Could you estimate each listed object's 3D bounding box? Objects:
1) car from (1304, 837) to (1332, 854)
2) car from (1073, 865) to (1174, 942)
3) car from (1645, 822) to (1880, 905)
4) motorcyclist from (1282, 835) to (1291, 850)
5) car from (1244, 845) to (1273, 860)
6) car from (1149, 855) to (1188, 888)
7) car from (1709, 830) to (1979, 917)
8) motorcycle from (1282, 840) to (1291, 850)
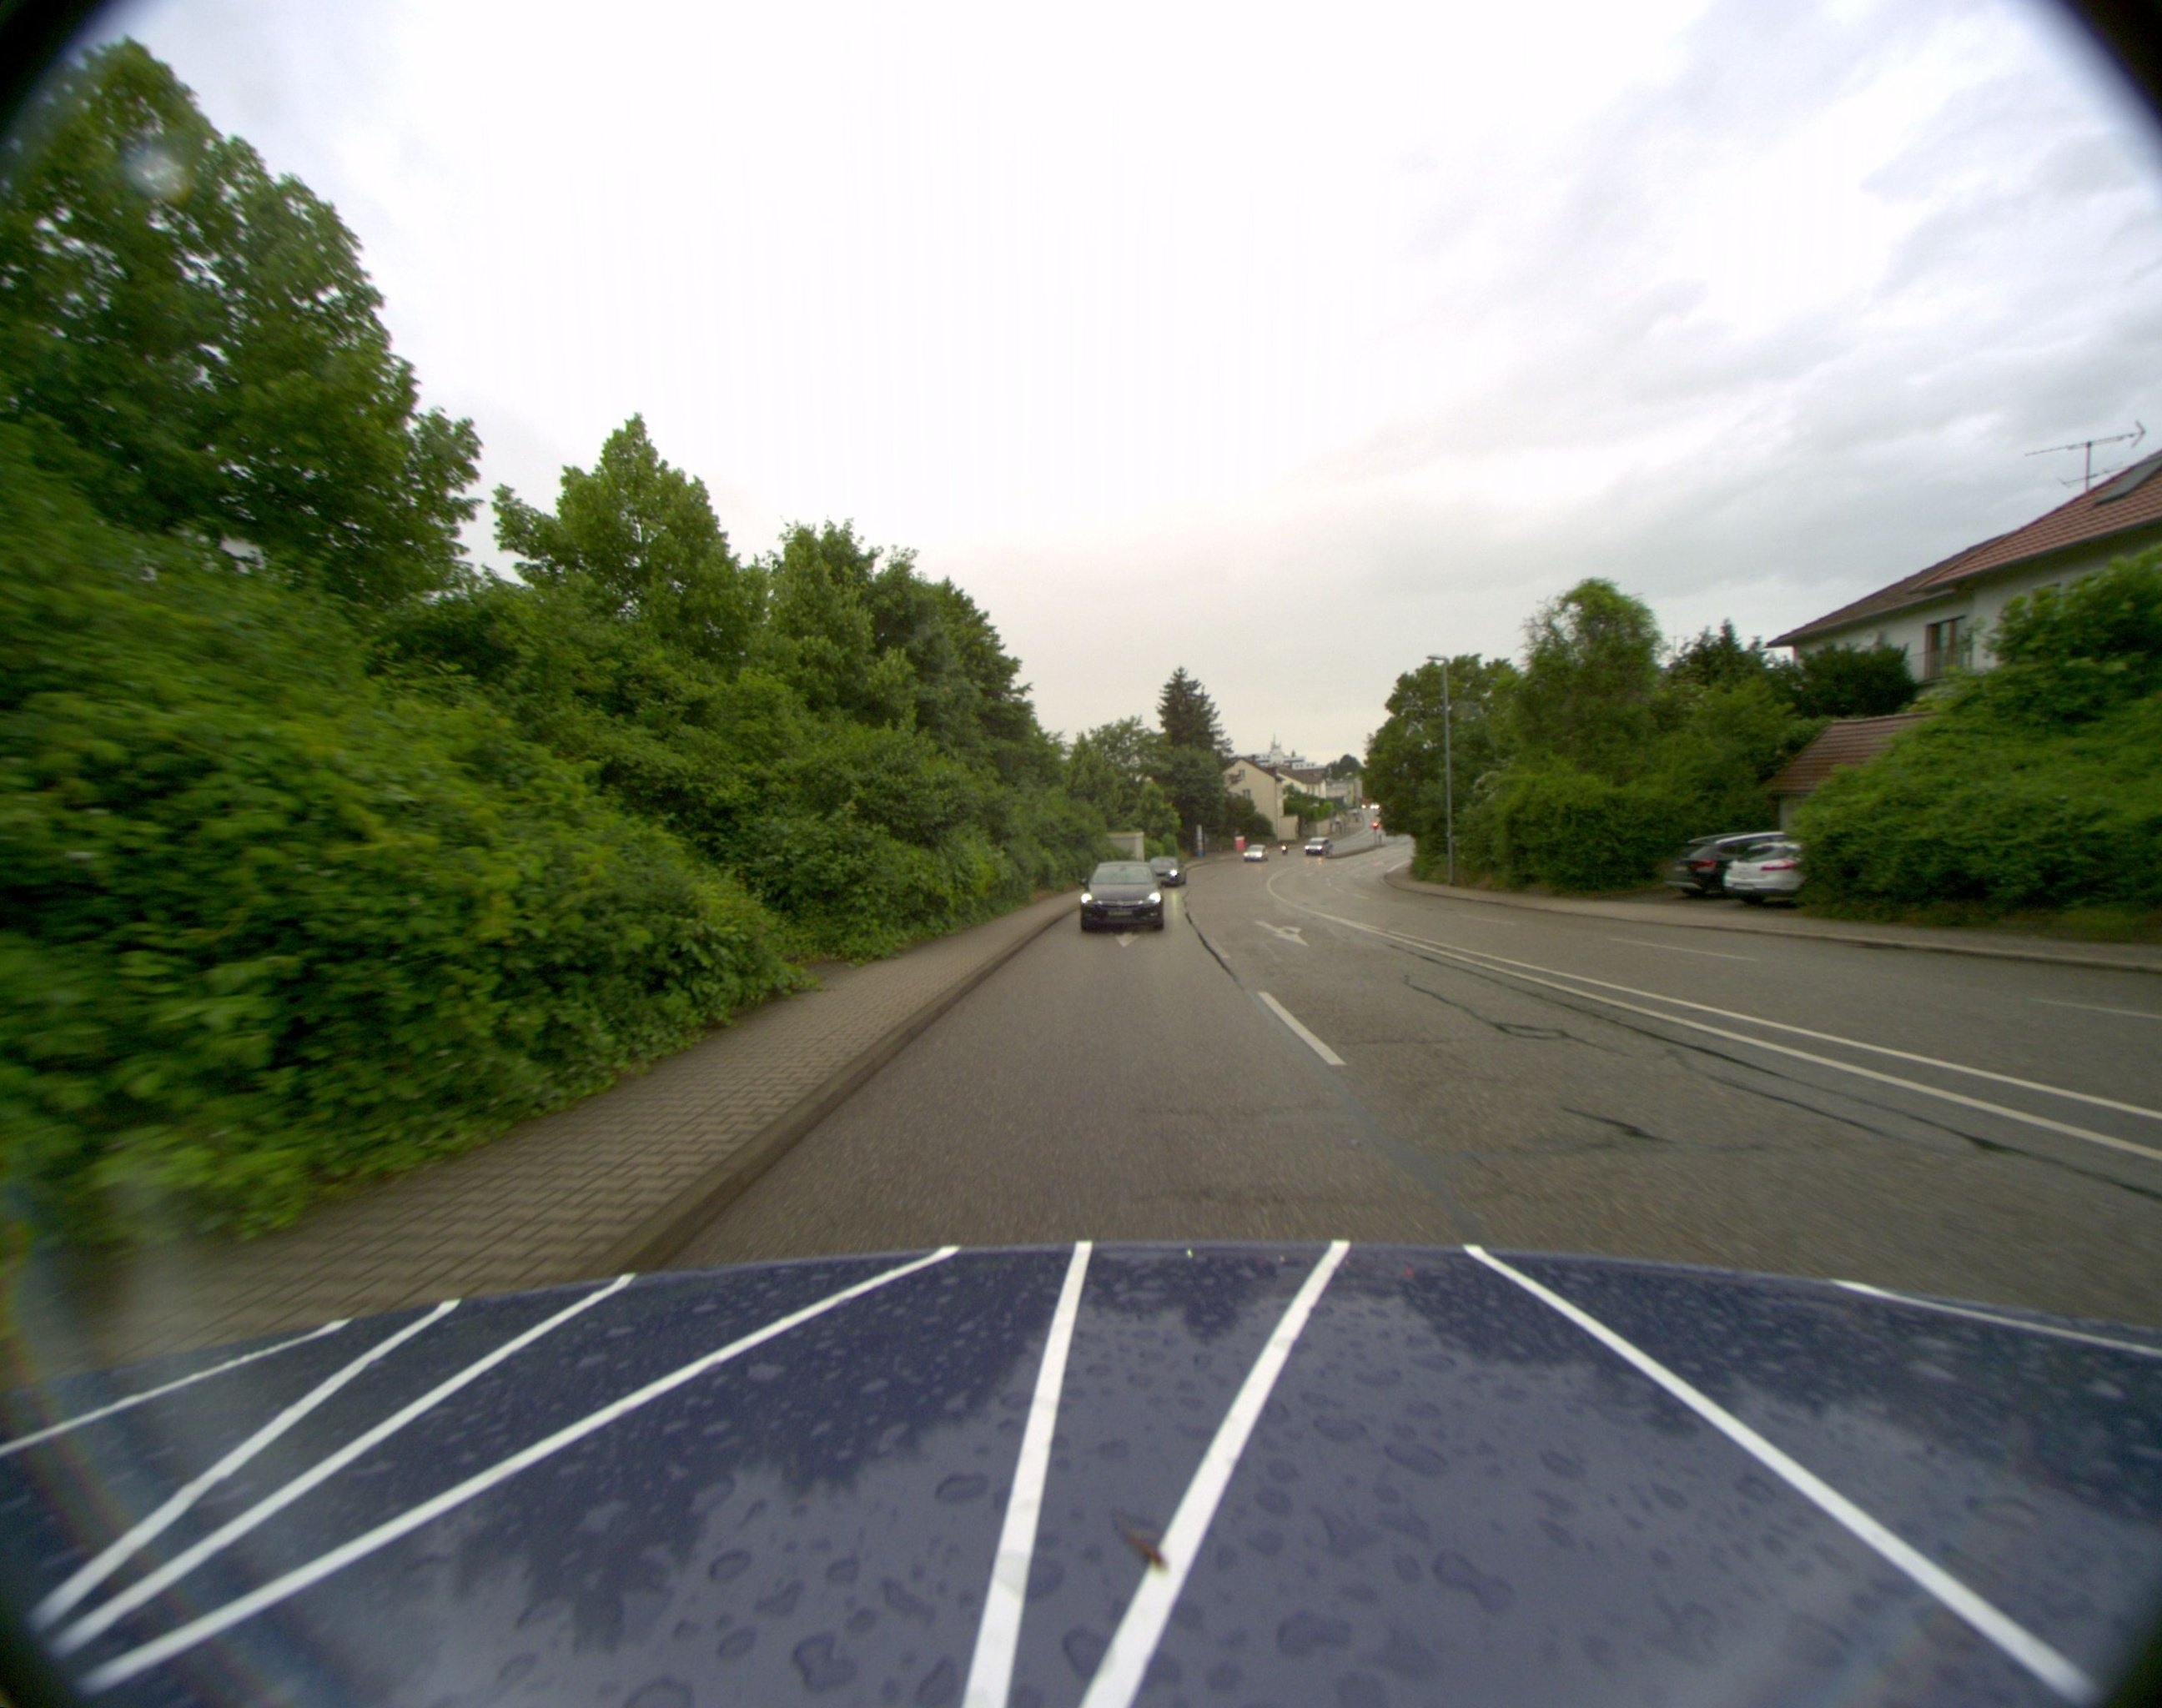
[{"bbox_3d":[26.301,-0.942,84.168,1.773,1.765,4.008,1,1,35],"label":"car"},{"bbox_3d":[1.095,1.026,17.255,1.815,1.434,4.165,-1,0,10],"label":"car"},{"bbox_3d":[17.451,0.273,19.659,3.996,1.527,2.001,-7,-2,4],"label":"car"},{"bbox_3d":[23.168,-1.292,85.651,0.765,1.633,0.675,0,2,28],"label":"motorcyclist"},{"bbox_3d":[17.343,-0.185,74.108,1.814,1.430,4.007,1,1,26],"label":"car"},{"bbox_3d":[4.483,0.863,39.115,1.871,1.497,4.199,-1,0,6],"label":"car"},{"bbox_3d":[16.770,0.424,16.894,3.909,1.432,1.812,-6,0,5],"label":"car"},{"bbox_3d":[23.195,-1.031,85.728,0.691,1.047,1.750,1,2,28],"label":"motorcycle"}]
